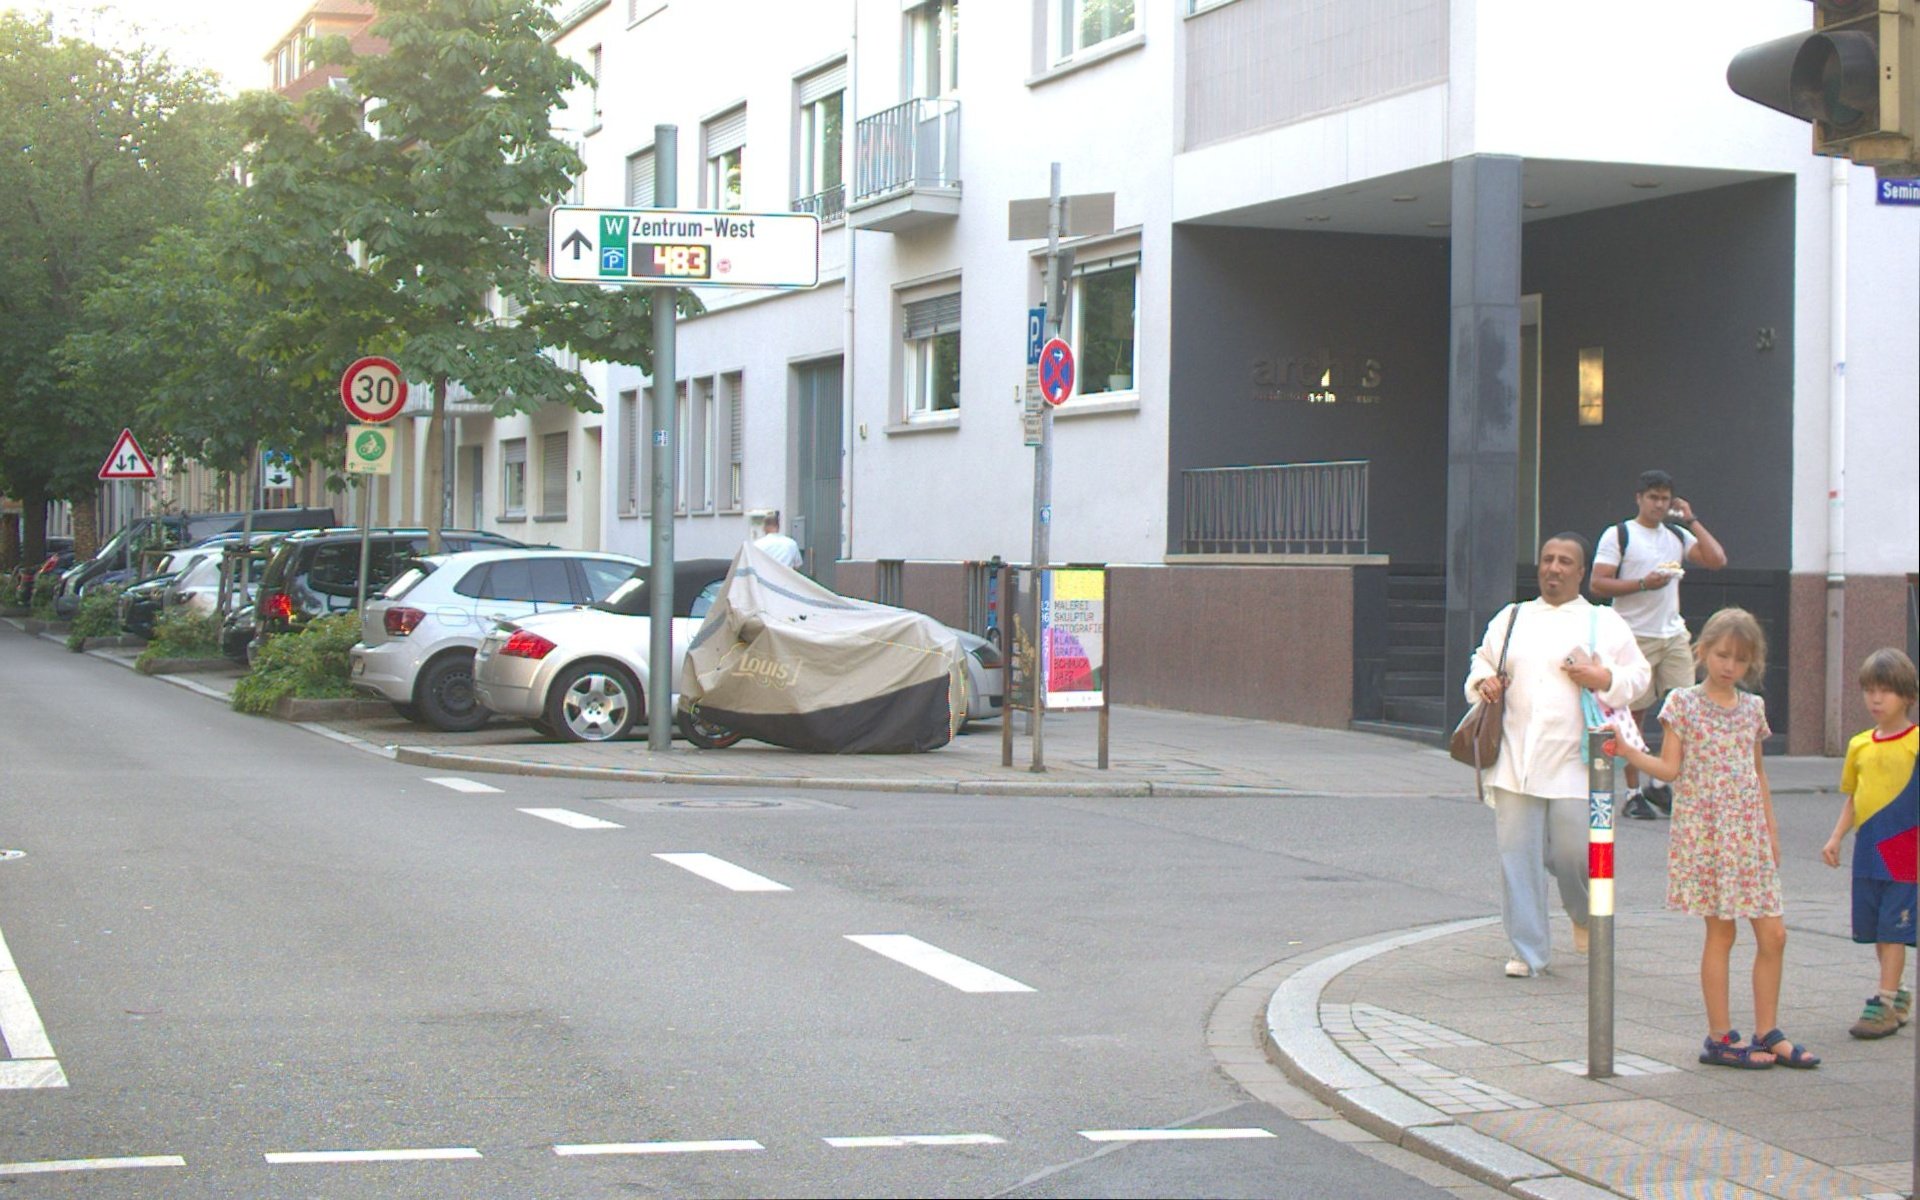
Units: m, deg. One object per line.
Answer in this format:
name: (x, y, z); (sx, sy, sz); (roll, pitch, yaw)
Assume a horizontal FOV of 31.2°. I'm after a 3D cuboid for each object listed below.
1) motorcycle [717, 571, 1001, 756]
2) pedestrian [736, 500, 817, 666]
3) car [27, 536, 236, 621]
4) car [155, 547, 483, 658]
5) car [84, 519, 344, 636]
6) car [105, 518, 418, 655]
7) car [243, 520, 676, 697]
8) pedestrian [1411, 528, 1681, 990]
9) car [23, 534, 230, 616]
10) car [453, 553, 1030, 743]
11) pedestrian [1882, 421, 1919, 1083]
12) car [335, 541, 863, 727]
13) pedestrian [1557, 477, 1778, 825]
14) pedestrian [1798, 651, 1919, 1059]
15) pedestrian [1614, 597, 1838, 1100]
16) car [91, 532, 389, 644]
motorcycle: (-0.673, 0.410, 22.667); (1.799, 1.195, 0.613); (0, 1, -9)
pedestrian: (-1.968, -0.187, 36.853); (0.703, 1.746, 0.700); (1, 1, -14)
car: (-16.605, -0.432, 69.042); (3.977, 1.572, 1.911); (2, 0, -12)
car: (-8.363, 0.022, 44.831); (4.013, 1.404, 1.707); (0, 1, -18)
car: (-12.308, -0.371, 56.685); (4.013, 1.824, 1.707); (1, 1, -18)
car: (-9.554, -0.195, 46.969); (4.013, 1.809, 1.707); (0, 1, -18)
car: (-4.977, 0.071, 34.124); (4.013, 1.684, 1.707); (0, 1, -18)
pedestrian: (1.992, 0.510, 11.625); (0.774, 1.496, 0.801); (0, 1, 19)
car: (-17.188, -0.516, 70.870); (4.013, 1.596, 1.707); (1, 1, -18)
car: (-1.651, 0.328, 25.742); (4.013, 1.338, 1.707); (0, 1, -17)
pedestrian: (3.069, 0.405, 9.635); (0.889, 1.809, 0.793); (1, 3, 16)
car: (-2.961, 0.247, 28.045); (4.013, 1.437, 1.707); (0, 1, -18)
pedestrian: (3.829, 0.265, 18.669); (0.766, 1.835, 0.944); (1, 1, -17)
pedestrian: (2.783, 0.730, 10.154); (0.565, 1.117, 0.837); (0, 2, 12)
pedestrian: (2.108, 0.667, 9.505); (0.505, 1.331, 0.541); (1, 1, 5)
car: (-10.406, -0.171, 49.645); (4.013, 1.525, 1.707); (1, 1, -18)
